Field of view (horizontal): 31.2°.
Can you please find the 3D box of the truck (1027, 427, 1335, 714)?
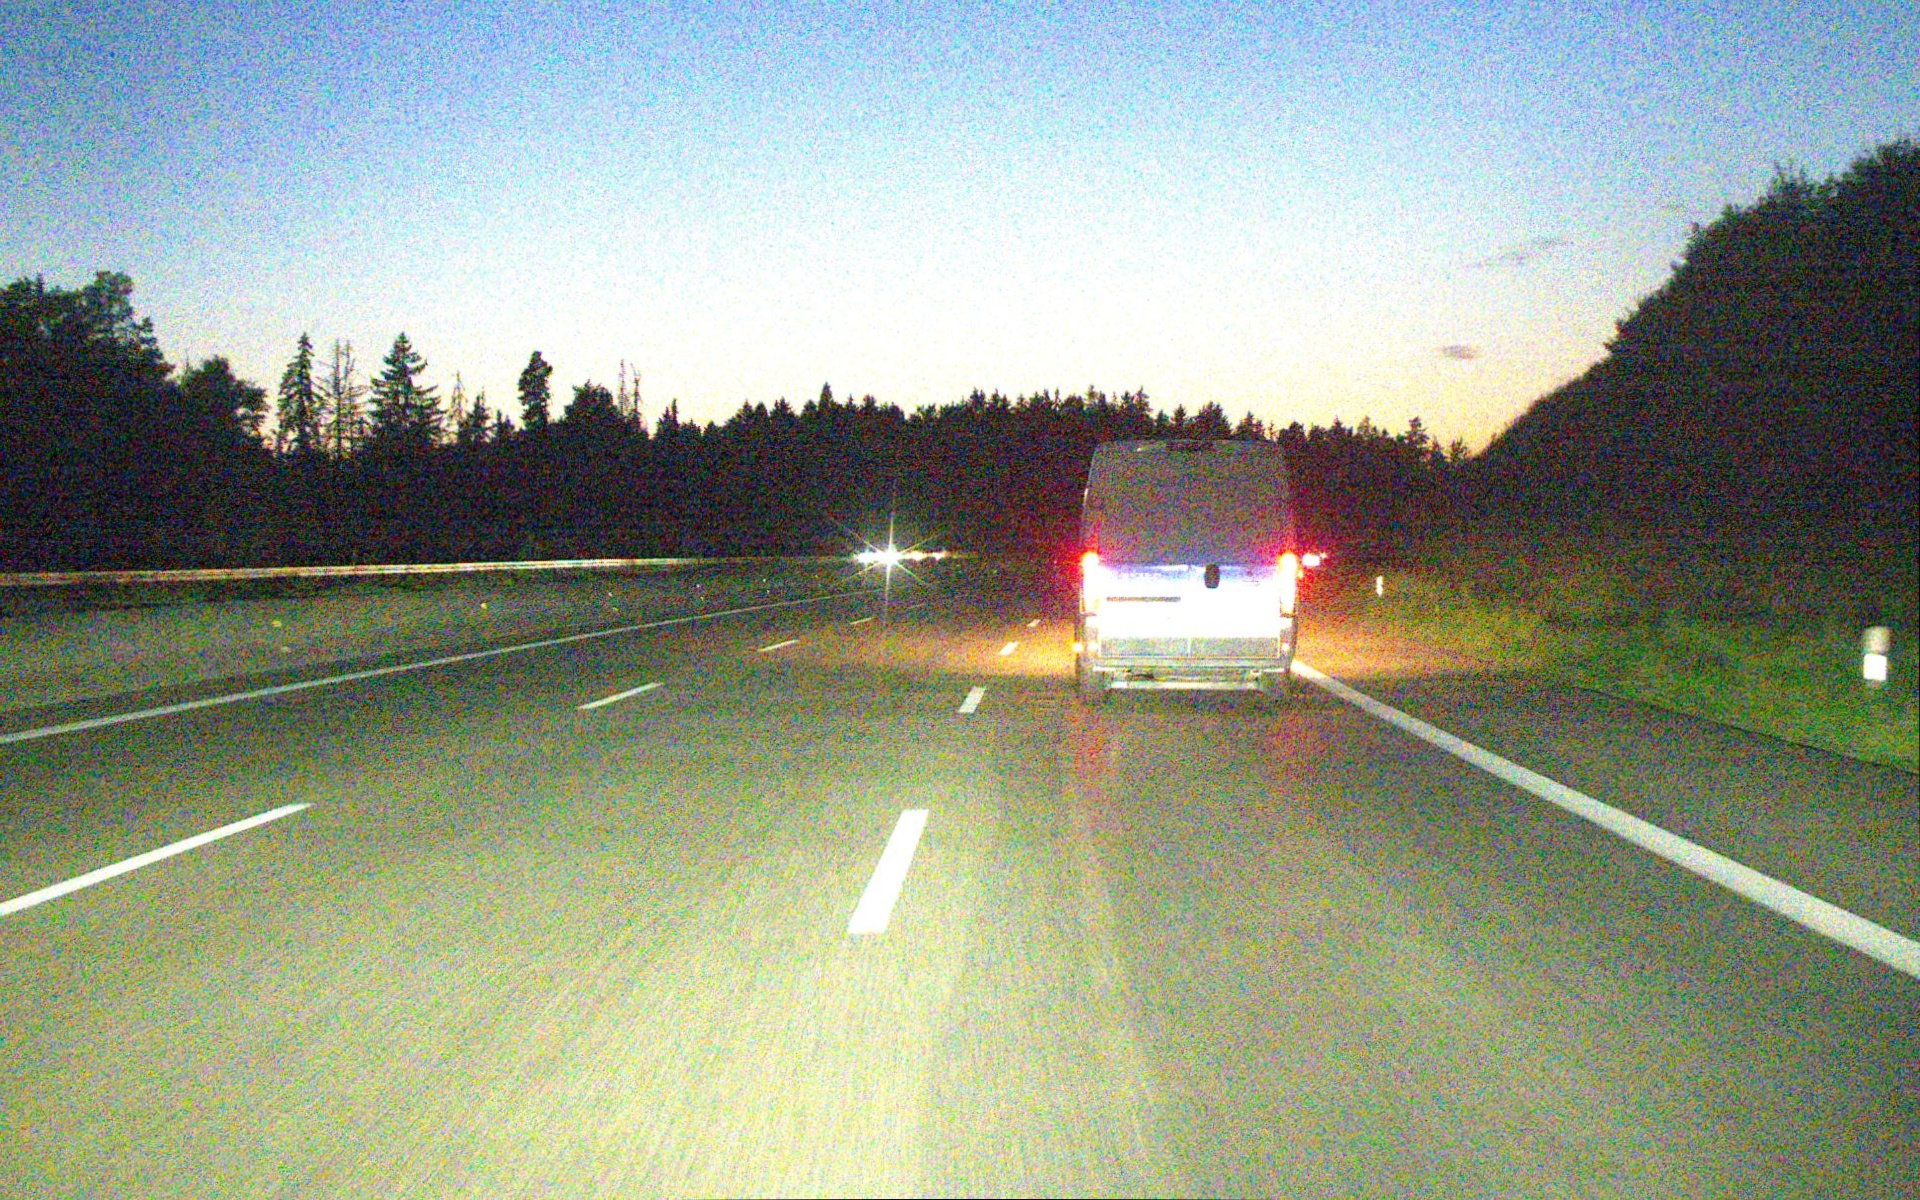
[{"bbox_3d":[2.112,-0.290,35.887,2.630,2.615,8.685,0,0,0],"label":"truck"}]
